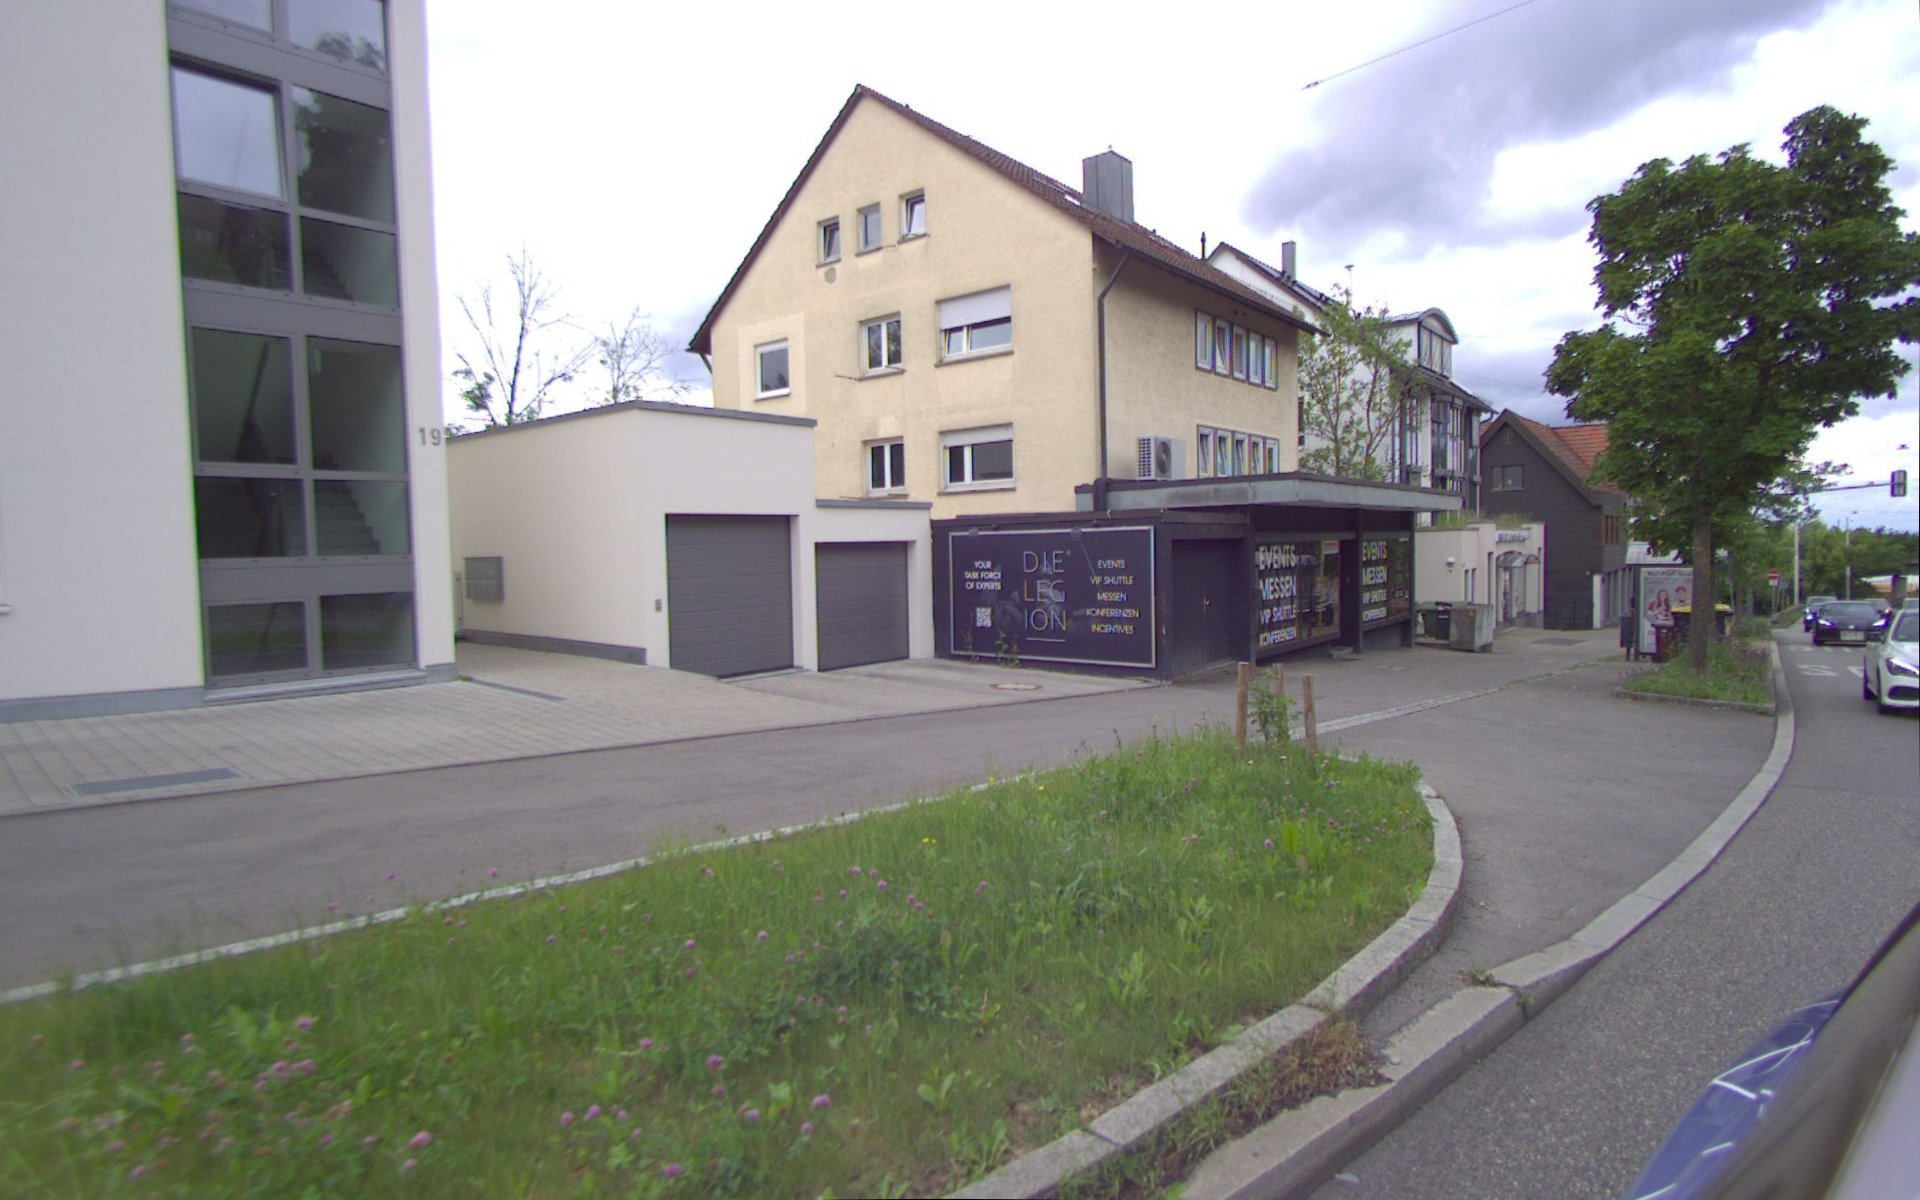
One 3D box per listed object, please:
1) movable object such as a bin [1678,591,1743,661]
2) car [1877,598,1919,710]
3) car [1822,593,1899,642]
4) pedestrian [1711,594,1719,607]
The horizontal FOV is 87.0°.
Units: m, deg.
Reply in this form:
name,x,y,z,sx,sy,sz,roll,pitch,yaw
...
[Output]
name,x,y,z,sx,sy,sz,roll,pitch,yaw
movable object such as a bin,16.804,0.560,22.651,1.084,1.500,1.514,0,0,41
car,13.873,0.692,13.884,1.811,1.416,3.941,0,0,41
car,30.458,0.582,34.322,1.770,1.561,3.942,-1,-1,40
pedestrian,84.657,0.069,113.484,0.710,1.490,0.685,-1,-1,39
